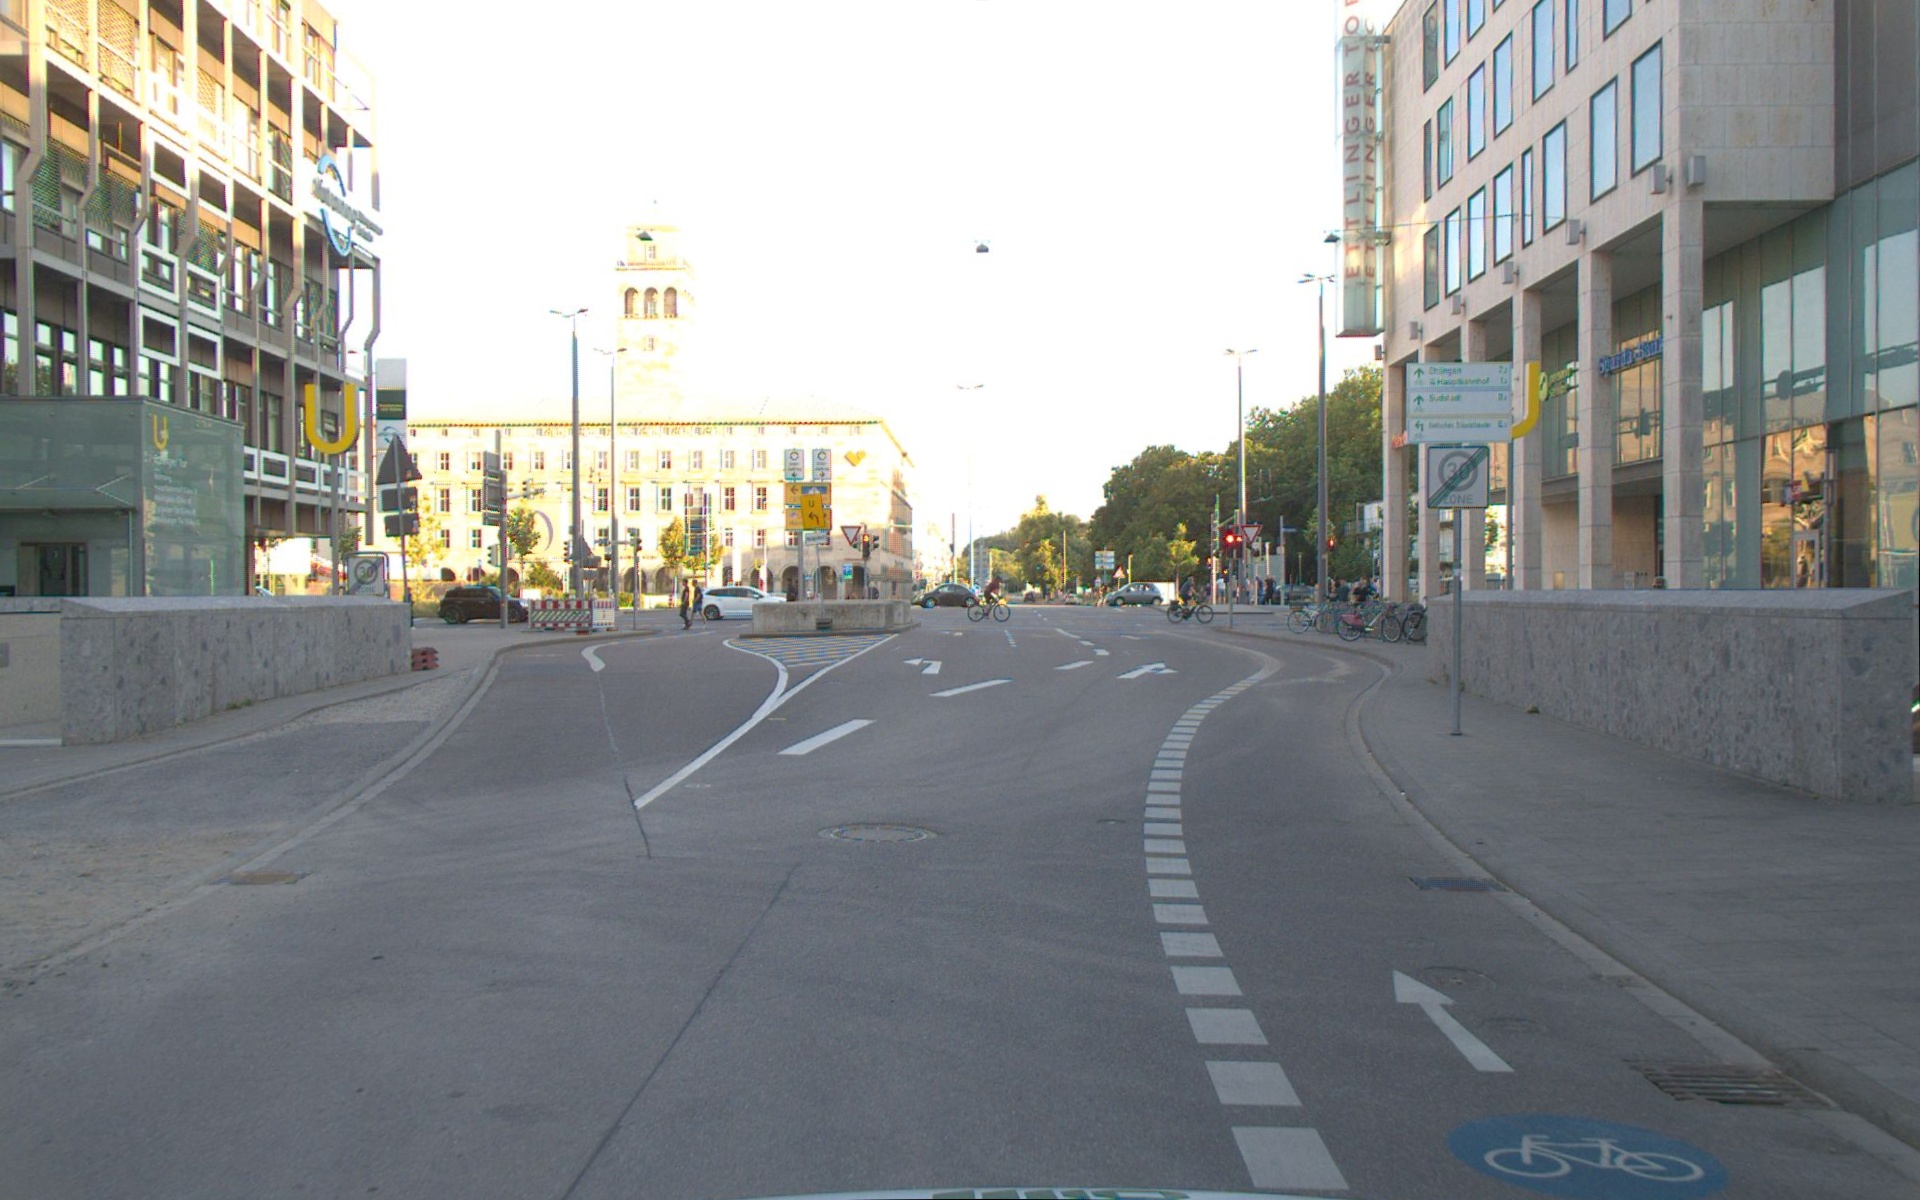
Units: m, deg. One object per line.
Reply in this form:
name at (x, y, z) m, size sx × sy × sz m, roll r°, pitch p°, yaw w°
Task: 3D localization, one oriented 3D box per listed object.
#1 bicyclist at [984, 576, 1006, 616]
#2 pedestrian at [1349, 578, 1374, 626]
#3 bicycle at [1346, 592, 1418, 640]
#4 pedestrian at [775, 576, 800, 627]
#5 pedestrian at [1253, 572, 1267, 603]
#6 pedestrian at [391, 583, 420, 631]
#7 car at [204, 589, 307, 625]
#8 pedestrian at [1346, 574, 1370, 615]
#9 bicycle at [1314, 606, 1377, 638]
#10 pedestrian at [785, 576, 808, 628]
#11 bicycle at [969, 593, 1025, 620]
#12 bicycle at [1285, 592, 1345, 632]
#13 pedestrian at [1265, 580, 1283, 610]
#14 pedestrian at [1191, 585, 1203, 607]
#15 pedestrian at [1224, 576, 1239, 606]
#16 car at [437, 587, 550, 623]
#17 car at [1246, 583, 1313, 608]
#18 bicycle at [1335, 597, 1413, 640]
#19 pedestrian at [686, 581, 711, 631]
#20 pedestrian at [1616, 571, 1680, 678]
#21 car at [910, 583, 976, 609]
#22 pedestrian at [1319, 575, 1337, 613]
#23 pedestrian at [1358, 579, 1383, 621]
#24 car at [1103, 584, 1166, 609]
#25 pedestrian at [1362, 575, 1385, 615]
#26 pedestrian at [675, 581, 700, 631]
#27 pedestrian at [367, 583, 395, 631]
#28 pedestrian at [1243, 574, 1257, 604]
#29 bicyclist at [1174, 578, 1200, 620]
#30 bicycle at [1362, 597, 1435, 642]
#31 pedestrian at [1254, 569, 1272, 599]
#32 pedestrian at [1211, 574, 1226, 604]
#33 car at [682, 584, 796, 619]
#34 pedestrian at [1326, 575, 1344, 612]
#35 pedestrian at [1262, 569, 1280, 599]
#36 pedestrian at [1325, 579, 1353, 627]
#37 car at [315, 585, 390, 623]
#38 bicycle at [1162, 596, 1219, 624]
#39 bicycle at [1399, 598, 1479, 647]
bicyclist at (1.414, -0.160, 66.215) m, size 0.861 × 1.557 × 0.654 m, roll -1°, pitch 0°, yaw 3°
pedestrian at (15.581, 0.069, 64.178) m, size 0.740 × 1.808 × 0.741 m, roll -3°, pitch 0°, yaw 2°
bicycle at (11.870, 0.445, 46.603) m, size 1.829 × 1.282 × 0.673 m, roll 2°, pitch 0°, yaw 0°
pedestrian at (-6.164, 0.062, 59.046) m, size 0.727 × 1.808 × 0.859 m, roll 0°, pitch 0°, yaw -17°
pedestrian at (17.457, -0.727, 96.258) m, size 0.791 × 1.760 × 0.688 m, roll 0°, pitch 0°, yaw 13°
pedestrian at (-21.532, 0.259, 64.248) m, size 0.734 × 1.808 × 0.850 m, roll -3°, pitch 0°, yaw -41°
car at (-32.871, 0.306, 77.255) m, size 4.101 × 1.620 × 1.694 m, roll 0°, pitch 0°, yaw -7°
pedestrian at (17.303, -0.247, 71.946) m, size 0.874 × 1.760 × 0.688 m, roll 0°, pitch 0°, yaw 3°
bicycle at (11.924, 0.679, 51.233) m, size 1.829 × 0.952 × 0.516 m, roll 0°, pitch 0°, yaw 0°
pedestrian at (-5.765, 0.063, 58.180) m, size 0.725 × 1.808 × 0.862 m, roll -1°, pitch 0°, yaw -9°
bicycle at (1.481, 0.256, 66.218) m, size 2.195 × 1.080 × 0.654 m, roll -1°, pitch 0°, yaw 3°
bicycle at (11.084, 0.366, 51.637) m, size 1.779 × 1.233 × 0.571 m, roll 0°, pitch 0°, yaw 17°
pedestrian at (18.470, -0.310, 97.370) m, size 0.677 × 1.760 × 0.804 m, roll 0°, pitch 0°, yaw -25°
pedestrian at (19.181, -0.343, 133.908) m, size 0.792 × 1.760 × 0.929 m, roll 0°, pitch 0°, yaw -1°
pedestrian at (15.785, -0.531, 96.128) m, size 0.792 × 1.760 × 0.688 m, roll 0°, pitch 0°, yaw -1°
car at (-20.505, 0.222, 72.854) m, size 4.371 × 1.522 × 2.127 m, roll 0°, pitch 0°, yaw -2°
car at (20.171, -0.291, 104.530) m, size 3.903 × 1.478 × 1.542 m, roll 0°, pitch 0°, yaw -10°
bicycle at (10.460, 0.473, 41.832) m, size 1.858 × 1.066 × 0.571 m, roll 0°, pitch 0°, yaw 6°
pedestrian at (-9.844, 0.226, 62.305) m, size 0.723 × 1.808 × 0.863 m, roll -3°, pitch 0°, yaw -2°
pedestrian at (11.552, 0.399, 27.792) m, size 0.818 × 1.765 × 0.820 m, roll 0°, pitch 0°, yaw 8°
car at (-1.033, -0.253, 100.980) m, size 3.910 × 1.520 × 1.826 m, roll -1°, pitch 0°, yaw -6°
pedestrian at (17.070, -0.294, 76.776) m, size 0.677 × 1.760 × 0.741 m, roll 0°, pitch 0°, yaw 3°
pedestrian at (17.380, -0.018, 70.058) m, size 0.874 × 1.760 × 0.688 m, roll 0°, pitch 0°, yaw 1°
car at (10.844, -0.217, 102.920) m, size 3.642 × 1.478 × 1.544 m, roll 0°, pitch 0°, yaw -5°
pedestrian at (18.261, -0.212, 73.066) m, size 0.874 × 1.760 × 0.688 m, roll 0°, pitch 0°, yaw 4°
pedestrian at (-10.114, 0.231, 61.370) m, size 0.723 × 1.808 × 0.863 m, roll -3°, pitch 0°, yaw -2°
pedestrian at (-22.460, 0.289, 64.137) m, size 0.732 × 1.808 × 0.853 m, roll -3°, pitch 0°, yaw -35°
pedestrian at (17.033, -0.631, 97.126) m, size 0.791 × 1.760 × 0.688 m, roll 0°, pitch 0°, yaw 13°
bicyclist at (9.095, -0.049, 66.304) m, size 0.998 × 1.649 × 0.654 m, roll -1°, pitch 0°, yaw 3°
bicycle at (11.876, 0.527, 44.823) m, size 1.832 × 1.133 × 0.571 m, roll 2°, pitch 0°, yaw 4°
pedestrian at (17.943, -0.934, 97.847) m, size 0.679 × 1.760 × 0.802 m, roll 0°, pitch 0°, yaw -32°
pedestrian at (15.016, -0.635, 96.046) m, size 0.792 × 1.760 × 0.688 m, roll 0°, pitch 0°, yaw -1°
car at (-9.695, 0.057, 72.701) m, size 4.698 × 1.522 × 2.128 m, roll 0°, pitch 0°, yaw 0°
pedestrian at (18.016, -0.314, 79.424) m, size 0.818 × 1.760 × 0.688 m, roll 0°, pitch 0°, yaw 13°
pedestrian at (18.122, -0.943, 96.419) m, size 0.797 × 1.760 × 0.683 m, roll 0°, pitch 0°, yaw -24°
pedestrian at (14.749, 0.104, 64.360) m, size 0.843 × 1.808 × 0.741 m, roll -3°, pitch 0°, yaw 2°
car at (-28.379, 0.183, 77.351) m, size 3.077 × 1.714 × 1.607 m, roll 0°, pitch 0°, yaw -13°
bicycle at (9.229, 0.395, 66.300) m, size 2.195 × 1.080 × 0.654 m, roll -1°, pitch 0°, yaw 3°
bicycle at (11.696, 0.541, 40.420) m, size 1.778 × 1.119 × 0.601 m, roll 2°, pitch 0°, yaw 9°
